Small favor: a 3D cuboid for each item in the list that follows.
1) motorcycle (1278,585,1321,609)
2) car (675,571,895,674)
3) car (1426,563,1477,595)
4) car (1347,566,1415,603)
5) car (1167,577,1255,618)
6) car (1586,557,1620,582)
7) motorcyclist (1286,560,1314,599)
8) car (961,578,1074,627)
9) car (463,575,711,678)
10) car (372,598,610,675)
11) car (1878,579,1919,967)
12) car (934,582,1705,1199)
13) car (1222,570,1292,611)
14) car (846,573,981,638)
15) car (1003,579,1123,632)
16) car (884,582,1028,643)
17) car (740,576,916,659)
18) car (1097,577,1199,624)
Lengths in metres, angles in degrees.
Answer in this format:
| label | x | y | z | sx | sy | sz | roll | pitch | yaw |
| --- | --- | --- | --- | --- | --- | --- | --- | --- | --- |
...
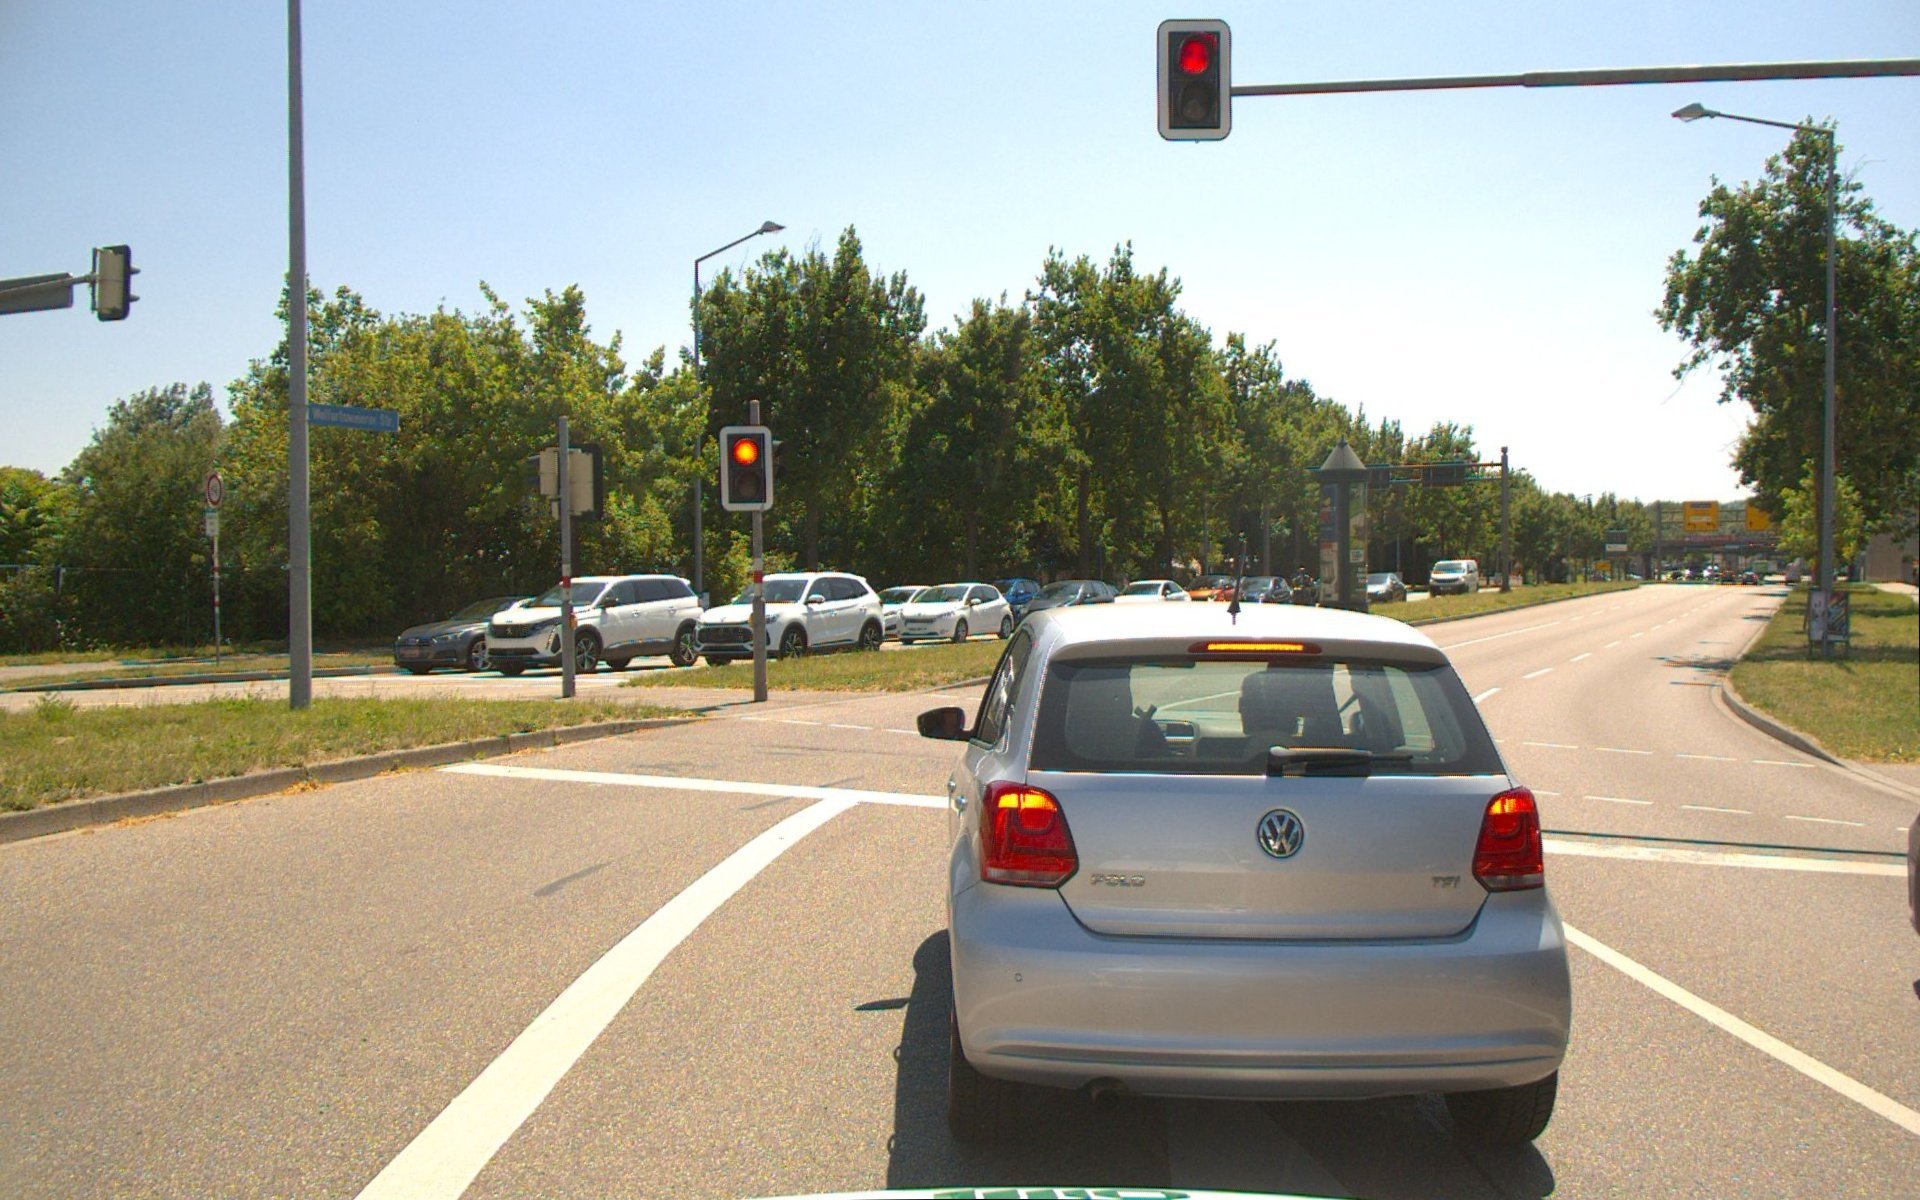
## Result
| label | x | y | z | sx | sy | sz | roll | pitch | yaw |
| --- | --- | --- | --- | --- | --- | --- | --- | --- | --- |
| motorcycle | 14.303 | -0.144 | 69.591 | 0.878 | 0.969 | 2.810 | -2 | 0 | 30 |
| car | -3.063 | 0.346 | 29.908 | 1.823 | 1.712 | 4.402 | 0 | 1 | 28 |
| car | 25.134 | -1.069 | 84.486 | 1.826 | 1.582 | 3.996 | 0 | 1 | 26 |
| car | 17.641 | -0.656 | 69.230 | 1.932 | 1.514 | 3.995 | 0 | 1 | 27 |
| car | 9.163 | -0.118 | 60.083 | 1.823 | 1.447 | 4.402 | 0 | 1 | 28 |
| car | 46.242 | -2.197 | 118.894 | 1.766 | 1.722 | 4.136 | -2 | 0 | 28 |
| motorcyclist | 14.295 | -0.868 | 69.540 | 0.889 | 1.614 | 1.008 | -2 | -1 | 30 |
| car | 1.868 | 0.039 | 52.093 | 1.823 | 1.447 | 4.402 | 0 | 1 | 28 |
| car | -6.421 | 0.396 | 28.985 | 1.823 | 1.646 | 4.402 | 0 | 1 | 28 |
| car | -8.821 | 0.637 | 31.494 | 1.823 | 1.292 | 4.402 | 0 | 1 | 28 |
| car | 4.488 | 0.679 | 4.204 | 1.952 | 1.443 | 4.457 | 0 | 1 | 2 |
| car | 0.853 | 0.678 | 5.747 | 1.739 | 1.447 | 4.001 | 0 | 1 | 1 |
| car | 11.623 | -0.360 | 64.597 | 1.682 | 1.500 | 3.793 | -2 | 0 | 27 |
| car | -1.241 | 0.114 | 45.929 | 1.823 | 1.712 | 4.402 | 0 | 1 | 28 |
| car | 3.039 | 0.127 | 47.863 | 1.823 | 1.447 | 4.402 | 0 | 1 | 28 |
| car | -0.033 | 0.286 | 42.047 | 1.823 | 1.447 | 4.402 | 0 | 1 | 28 |
| car | -2.855 | 0.336 | 36.815 | 1.823 | 1.712 | 4.402 | 0 | 1 | 28 |
| car | 6.179 | -0.007 | 53.868 | 1.823 | 1.447 | 4.402 | 0 | 1 | 28 |
